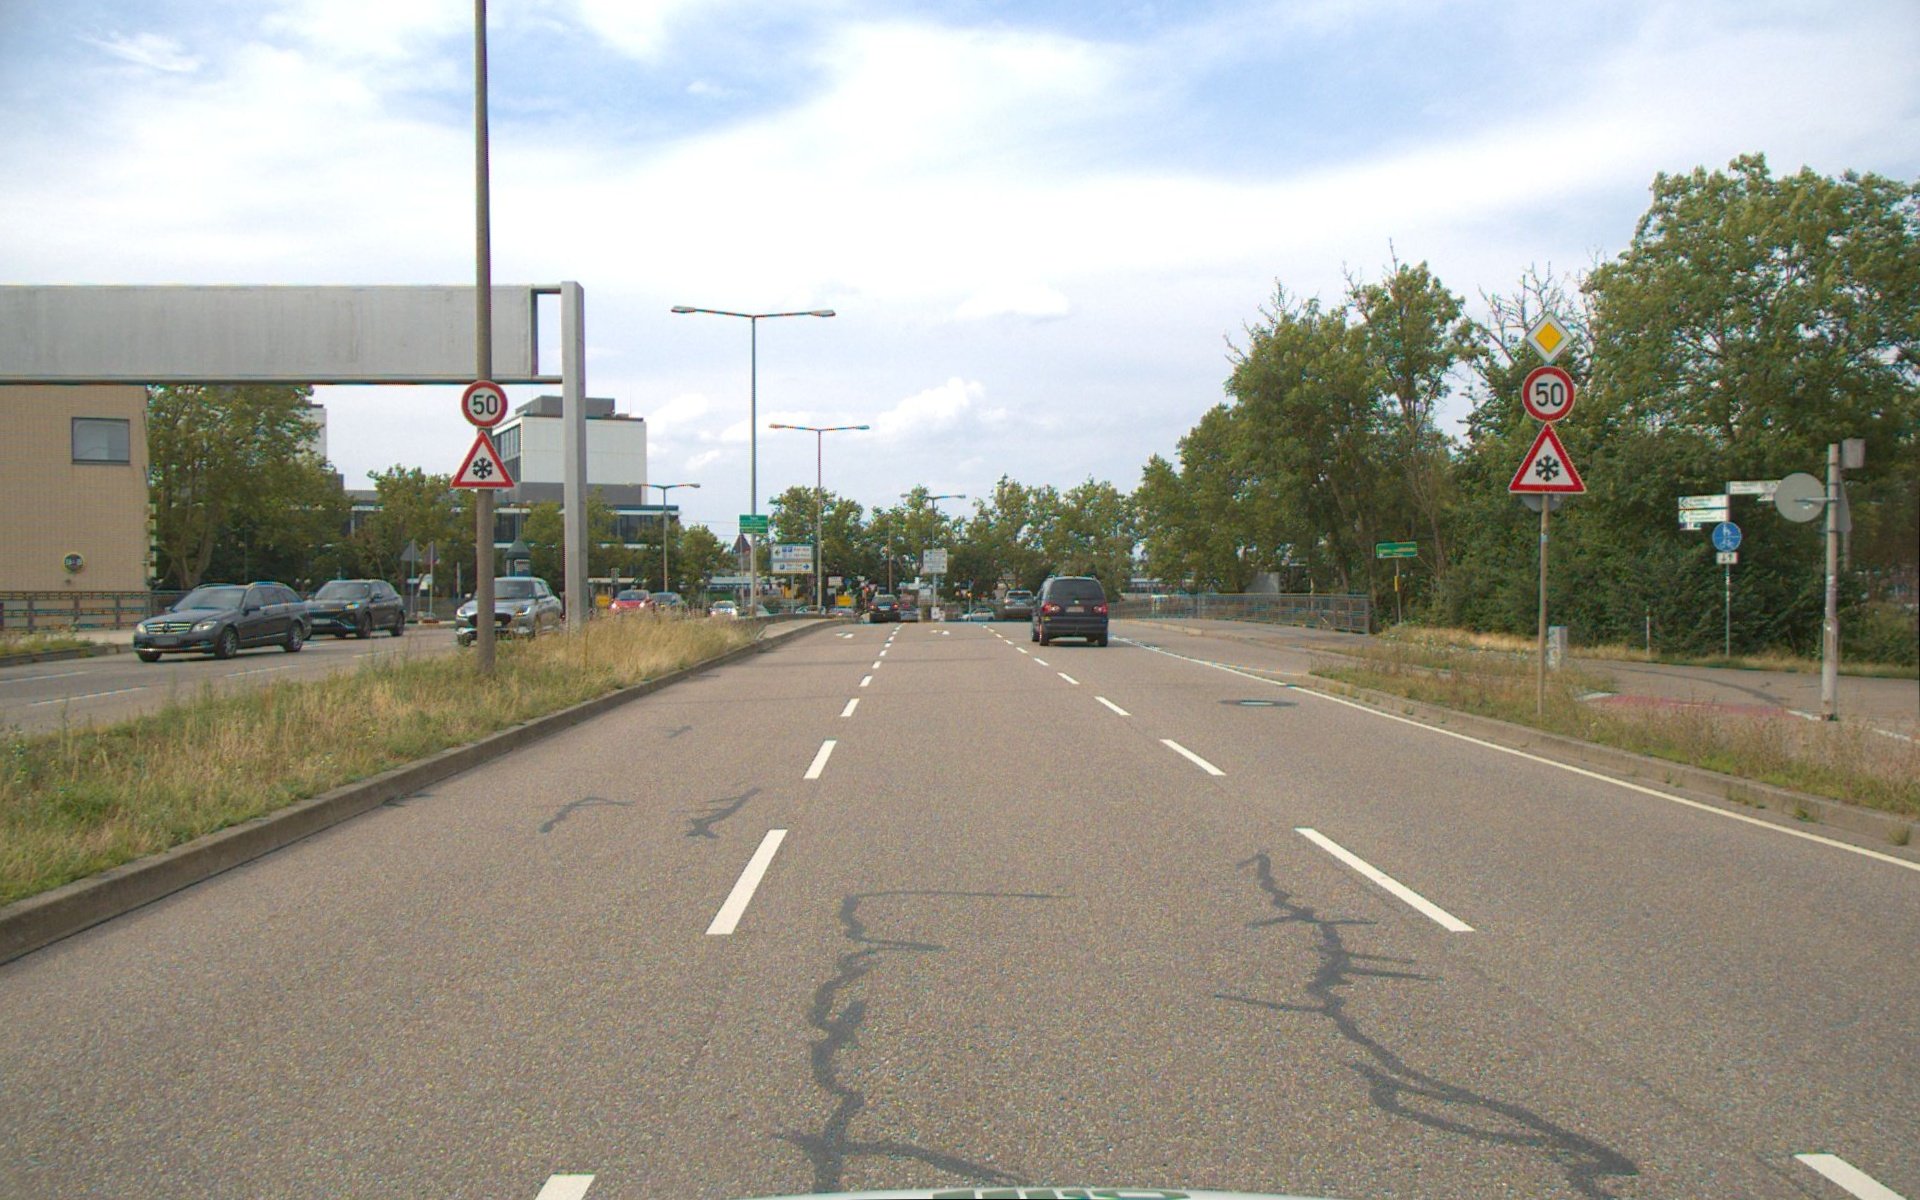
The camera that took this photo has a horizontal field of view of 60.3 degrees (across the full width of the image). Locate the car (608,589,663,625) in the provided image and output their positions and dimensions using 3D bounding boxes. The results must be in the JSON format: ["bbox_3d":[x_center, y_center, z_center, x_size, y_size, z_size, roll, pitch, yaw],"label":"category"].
[{"bbox_3d":[-14.301,0.318,73.027,1.757,1.466,3.796,-2,0,-2],"label":"car"}]

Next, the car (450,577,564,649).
[{"bbox_3d":[-10.028,0.268,36.827,1.661,1.512,3.858,0,0,-3],"label":"car"}]

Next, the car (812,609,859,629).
[{"bbox_3d":[-9.721,1.450,129.157,3.569,1.443,1.726,1,1,42],"label":"car"}]

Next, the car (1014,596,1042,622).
[{"bbox_3d":[4.198,0.554,102.497,1.477,1.472,3.138,1,1,-3],"label":"car"}]

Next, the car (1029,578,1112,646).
[{"bbox_3d":[2.817,0.276,42.953,1.696,1.682,4.113,0,1,-3],"label":"car"}]

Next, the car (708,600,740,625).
[{"bbox_3d":[-15.184,0.828,106.573,1.702,1.508,4.080,-2,0,-4],"label":"car"}]

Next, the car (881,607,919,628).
[{"bbox_3d":[-4.617,1.324,126.606,1.705,1.553,4.090,0,1,-21],"label":"car"}]

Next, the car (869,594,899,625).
[{"bbox_3d":[-4.336,0.511,94.593,1.696,1.682,4.113,0,1,-3],"label":"car"}]

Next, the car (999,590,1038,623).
[{"bbox_3d":[3.026,0.311,86.046,1.696,1.682,4.113,0,1,-3],"label":"car"}]

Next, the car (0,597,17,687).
[{"bbox_3d":[-16.321,0.708,24.878,1.631,1.444,4.315,-3,0,2],"label":"car"}]

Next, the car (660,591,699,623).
[{"bbox_3d":[-19.025,0.450,112.231,1.953,2.048,4.000,1,1,-1],"label":"car"}]

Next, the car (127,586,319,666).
[{"bbox_3d":[-14.781,0.492,33.471,1.631,1.450,4.520,-2,0,3],"label":"car"}]

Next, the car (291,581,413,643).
[{"bbox_3d":[-16.801,0.324,45.928,1.757,1.551,4.592,-2,0,-2],"label":"car"}]
